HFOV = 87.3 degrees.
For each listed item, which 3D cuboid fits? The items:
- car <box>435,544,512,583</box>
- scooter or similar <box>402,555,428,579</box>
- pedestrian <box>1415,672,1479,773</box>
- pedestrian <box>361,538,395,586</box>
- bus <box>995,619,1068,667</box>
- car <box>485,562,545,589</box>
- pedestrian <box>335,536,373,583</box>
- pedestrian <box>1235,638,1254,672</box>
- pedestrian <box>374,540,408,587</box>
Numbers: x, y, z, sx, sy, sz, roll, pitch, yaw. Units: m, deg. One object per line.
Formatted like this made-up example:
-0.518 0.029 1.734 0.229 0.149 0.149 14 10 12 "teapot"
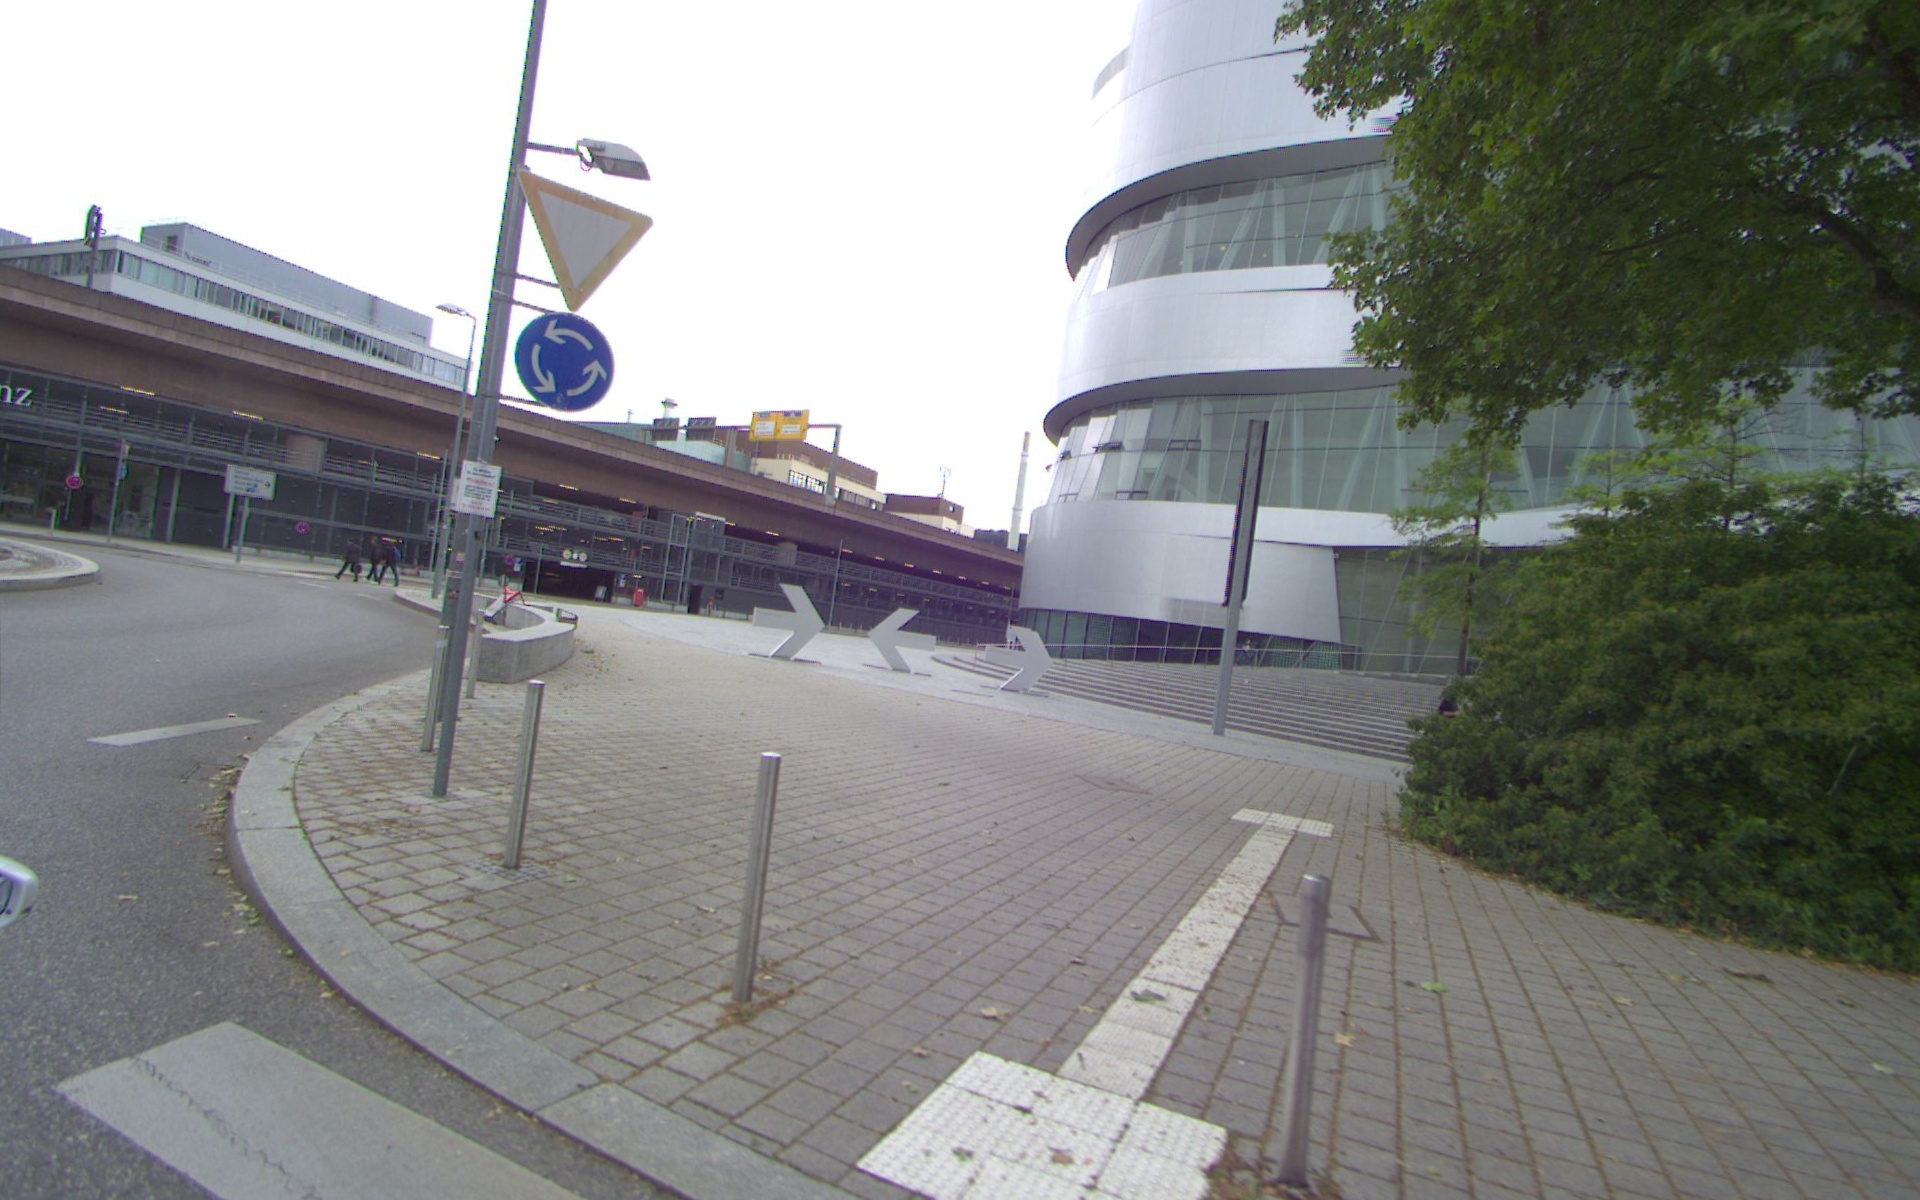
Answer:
-32.132 -2.401 66.503 1.970 1.925 3.988 7 -2 38 "car"
-32.977 -1.996 60.894 0.350 1.208 1.231 7 -2 37 "scooter or similar"
9.553 2.396 19.752 0.614 1.843 0.714 8 -1 -16 "pedestrian"
-22.556 -1.473 38.976 0.828 1.760 0.682 9 -2 -40 "pedestrian"
7.845 4.741 108.455 2.712 3.978 11.074 7 -3 31 "bus"
-37.406 -2.009 84.607 1.970 1.592 3.988 7 -2 38 "car"
-22.867 -1.526 37.938 0.679 1.588 0.832 7 -2 32 "pedestrian"
16.573 3.194 58.625 0.703 1.843 0.623 8 -1 -1 "pedestrian"
-22.579 -1.446 39.890 0.829 1.760 0.681 9 -2 -44 "pedestrian"
